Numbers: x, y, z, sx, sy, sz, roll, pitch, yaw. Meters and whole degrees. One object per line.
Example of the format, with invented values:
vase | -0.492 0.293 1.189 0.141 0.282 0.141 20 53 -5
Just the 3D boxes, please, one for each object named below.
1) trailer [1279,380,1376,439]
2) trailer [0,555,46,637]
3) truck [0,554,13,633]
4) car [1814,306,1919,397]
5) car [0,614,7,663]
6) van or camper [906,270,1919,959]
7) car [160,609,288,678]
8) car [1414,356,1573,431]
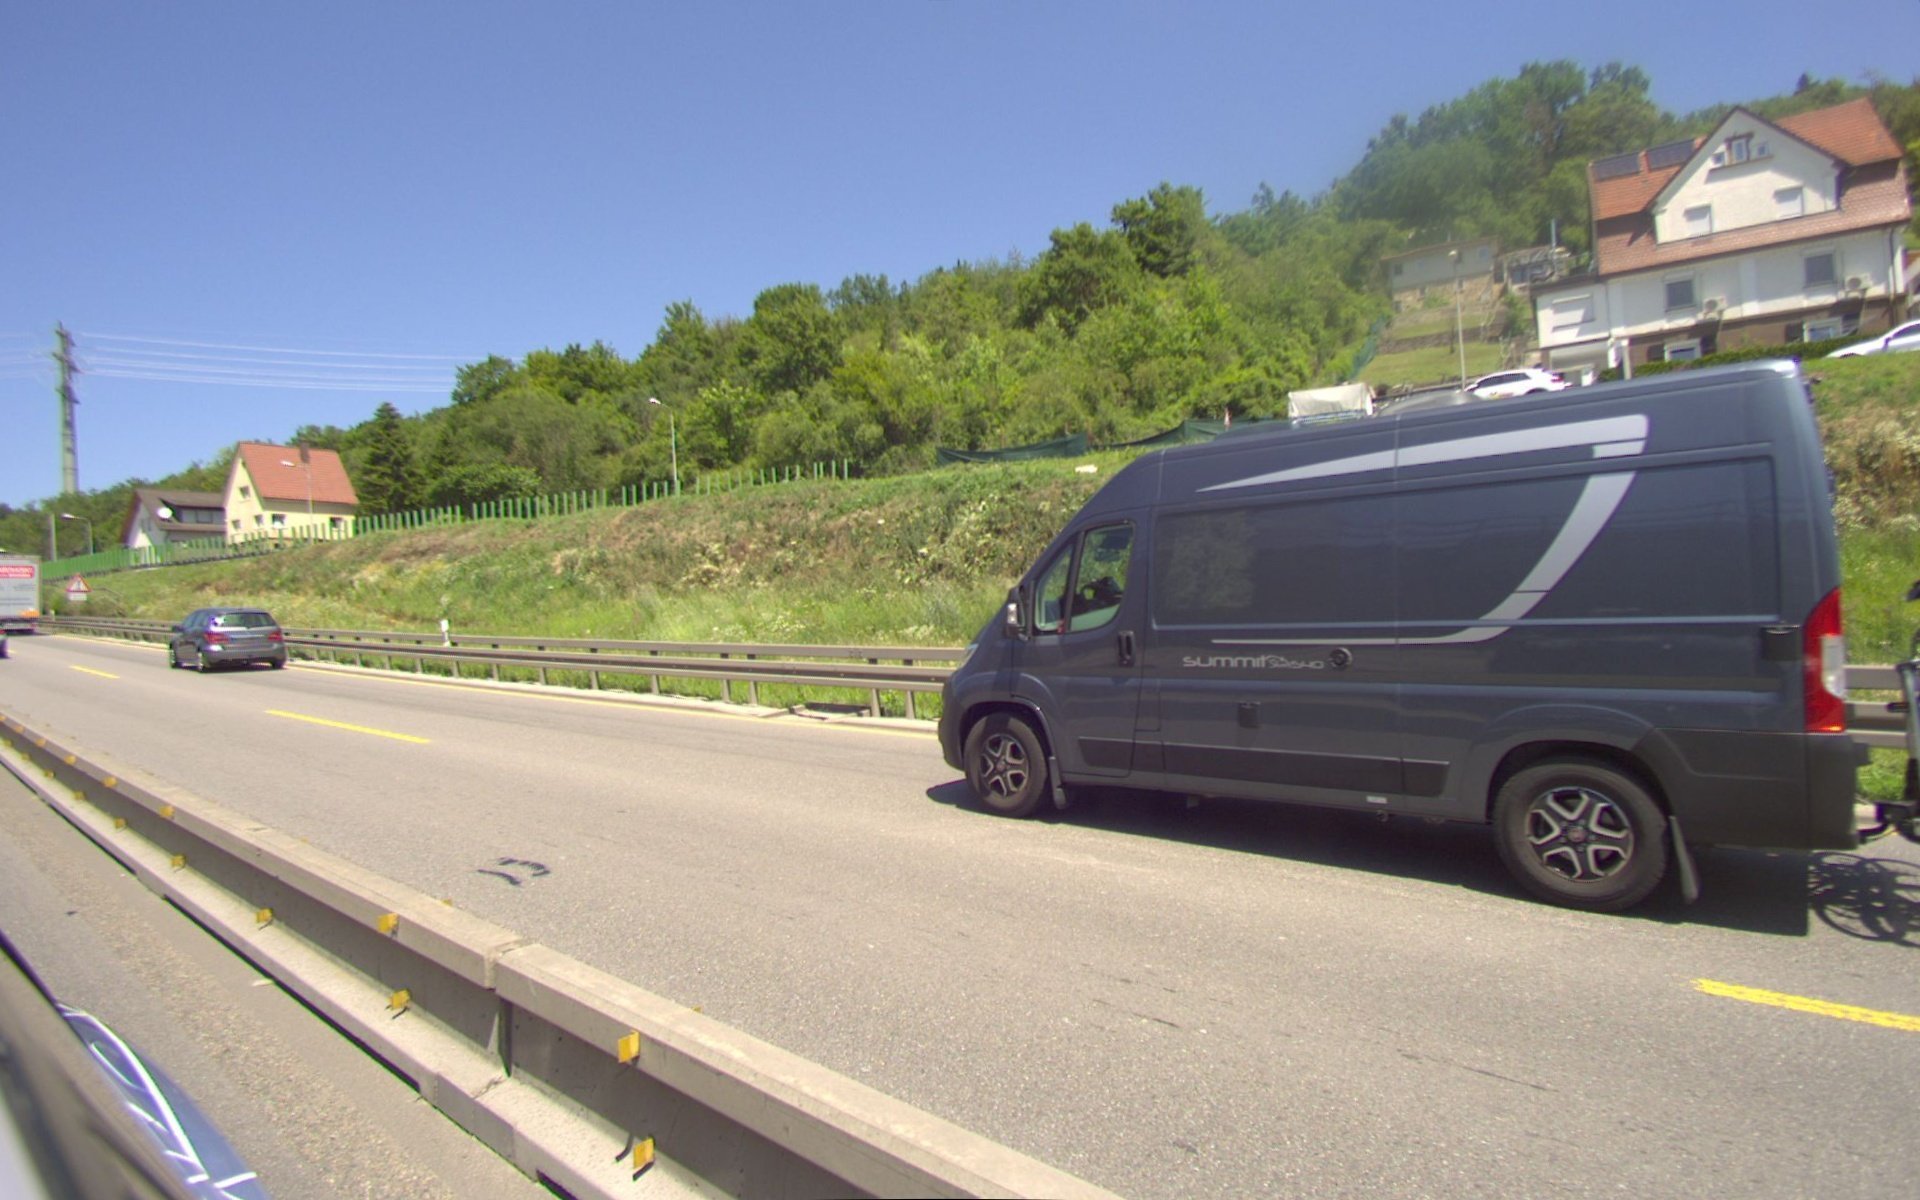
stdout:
trailer | 13.187 -6.782 36.290 3.026 1.527 1.888 0 0 30
trailer | -50.472 -0.173 52.861 8.699 4.019 2.900 -1 0 40
truck | -57.719 -0.316 59.005 10.379 4.430 2.594 -1 0 41
car | 26.490 -6.937 27.815 4.421 1.886 1.976 0 0 35
car | -31.050 1.179 31.306 4.626 1.444 1.810 -1 -1 41
van or camper | 2.795 0.074 5.924 6.560 2.593 2.118 -1 0 41
car | -19.051 1.076 26.133 4.283 1.594 1.755 -1 0 41
car | 17.608 -6.772 33.492 4.537 1.668 1.979 0 0 32
